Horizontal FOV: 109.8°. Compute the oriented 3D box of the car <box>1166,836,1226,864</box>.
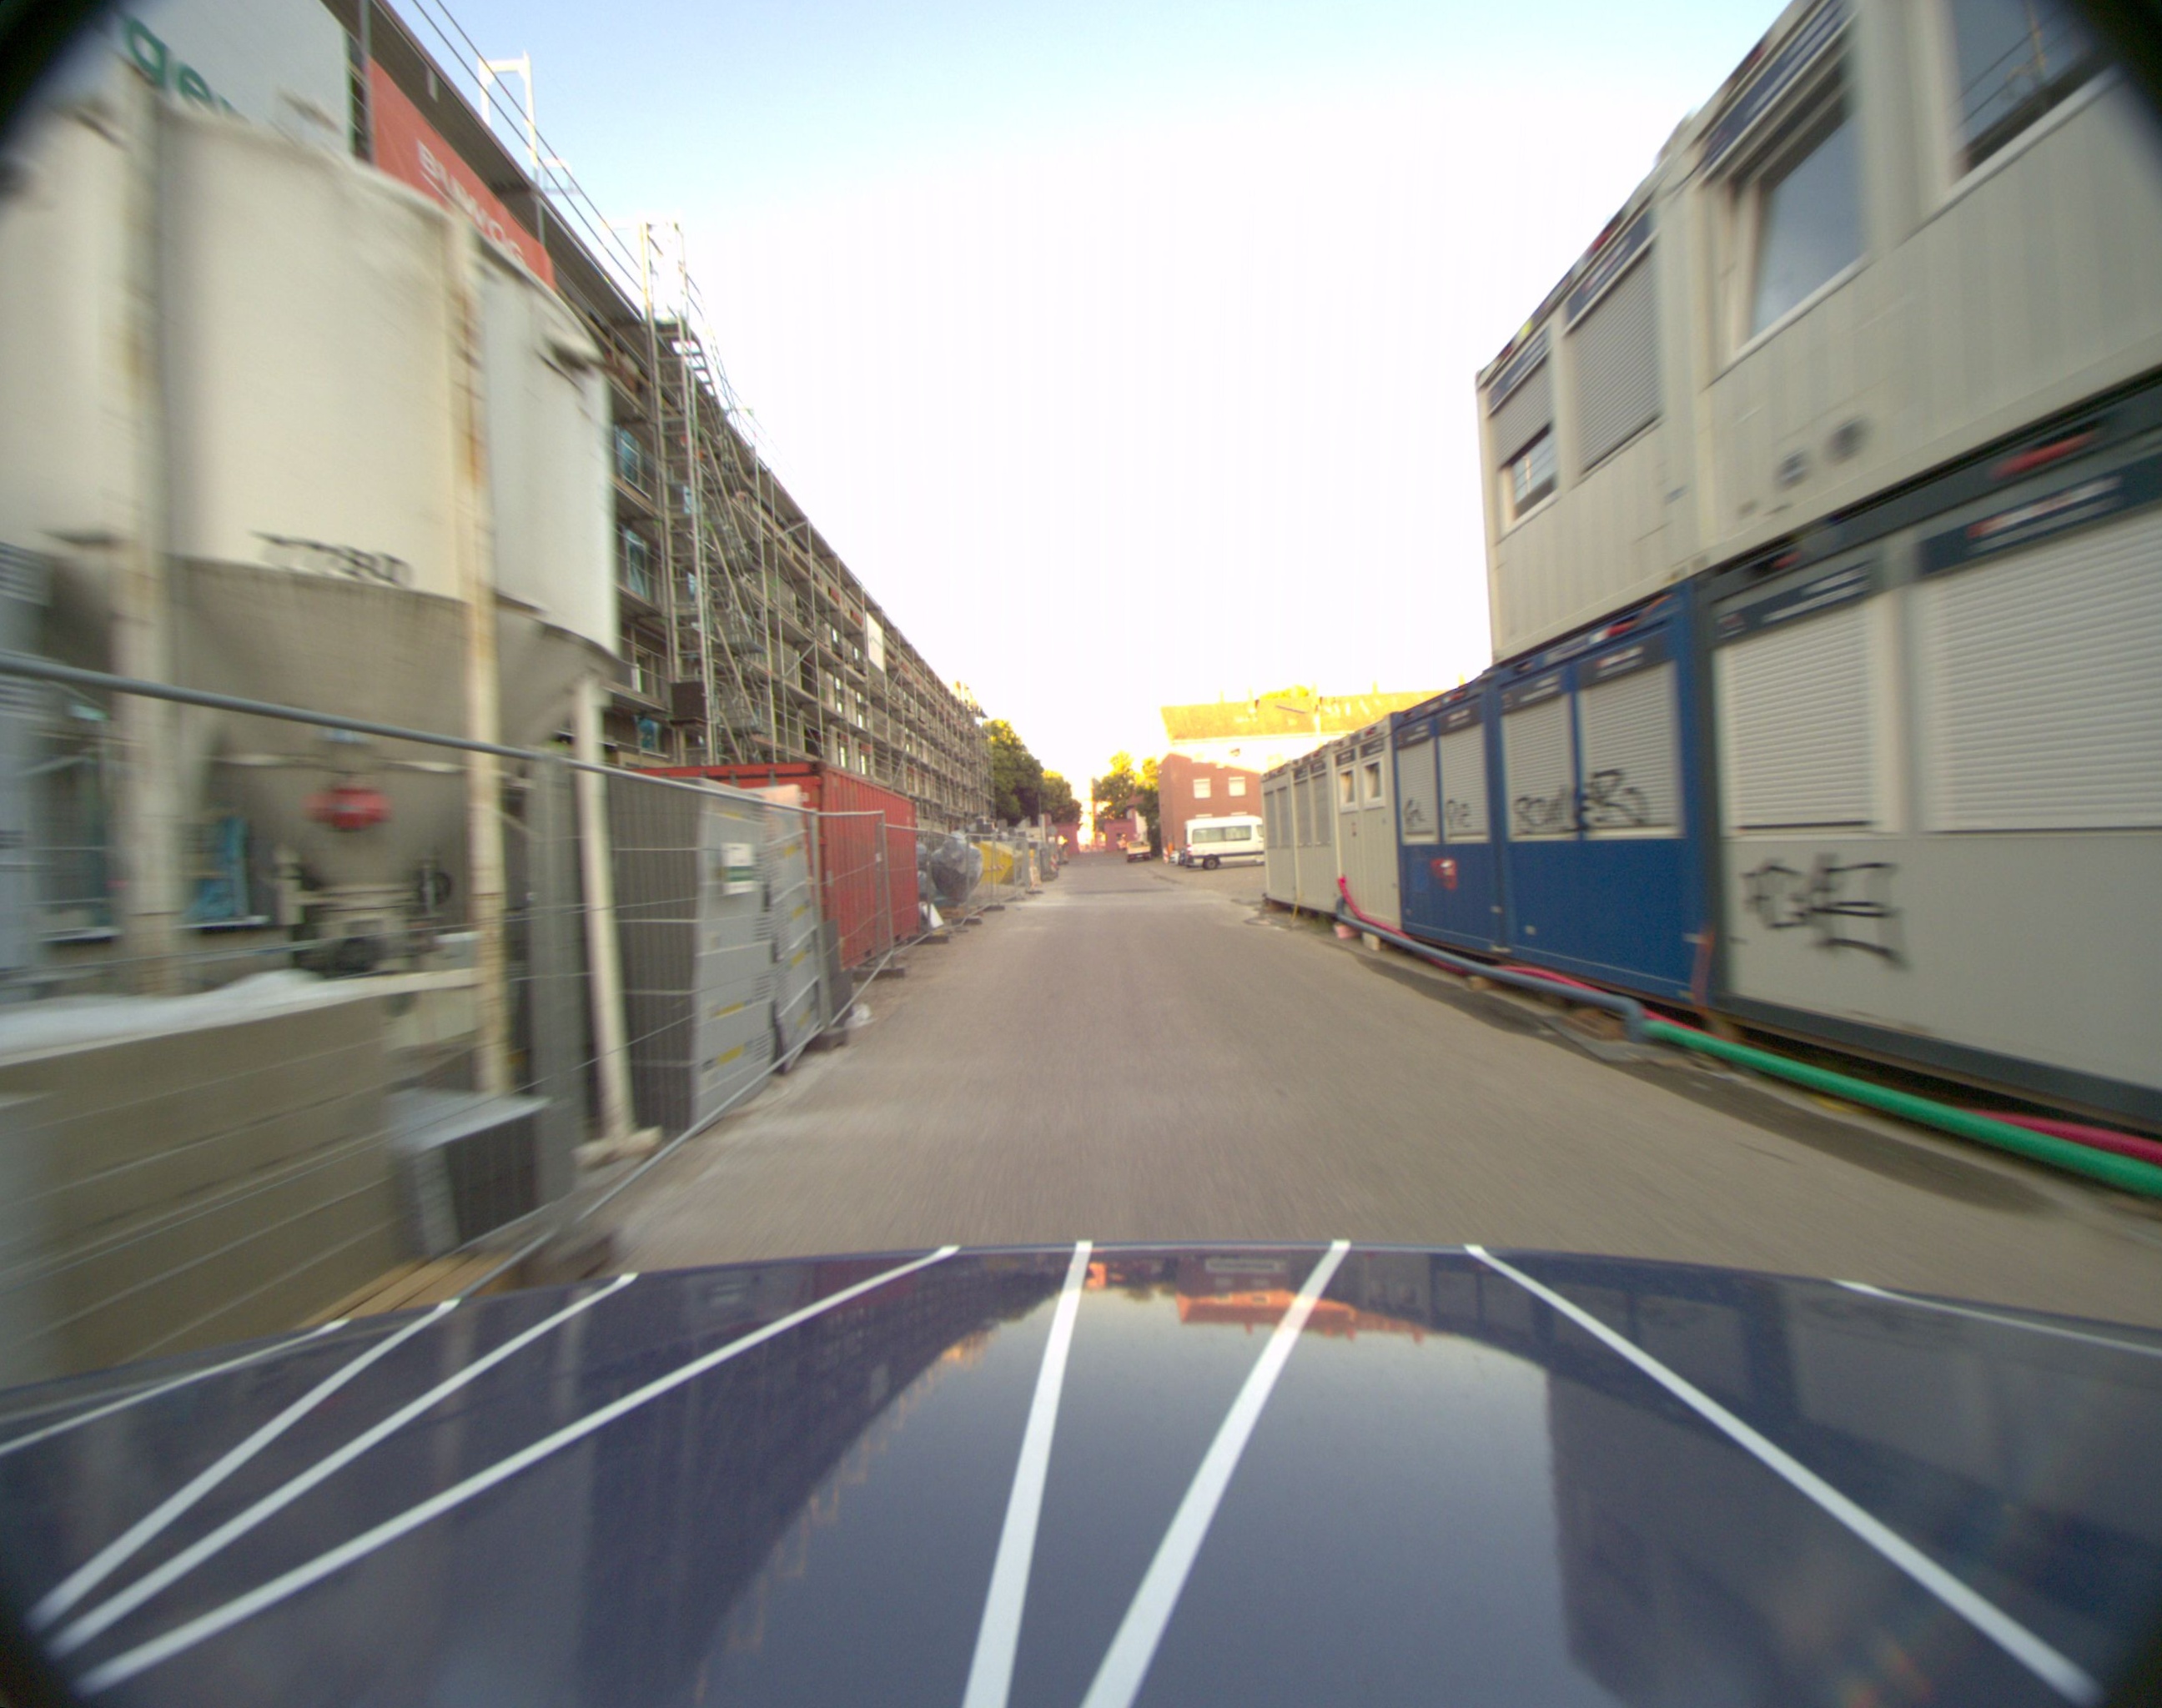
[{"bbox_3d":[7.738,-0.285,51.454,3.726,1.507,1.809,-5,1,3],"label":"car"}]

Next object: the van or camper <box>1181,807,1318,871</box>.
[{"bbox_3d":[8.629,-0.774,39.541,6.469,2.625,2.407,-5,1,3],"label":"van or camper"}]

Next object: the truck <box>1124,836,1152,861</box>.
[{"bbox_3d":[5.287,-0.531,70.600,1.842,2.090,3.738,-5,1,-5],"label":"truck"}]

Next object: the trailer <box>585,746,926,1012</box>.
[{"bbox_3d":[-4.289,0.246,11.692,2.581,2.895,6.235,-2,1,-2],"label":"trailer"}]

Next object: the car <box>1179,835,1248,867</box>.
[{"bbox_3d":[7.833,-0.168,45.227,3.726,1.507,1.769,-5,1,3],"label":"car"}]
